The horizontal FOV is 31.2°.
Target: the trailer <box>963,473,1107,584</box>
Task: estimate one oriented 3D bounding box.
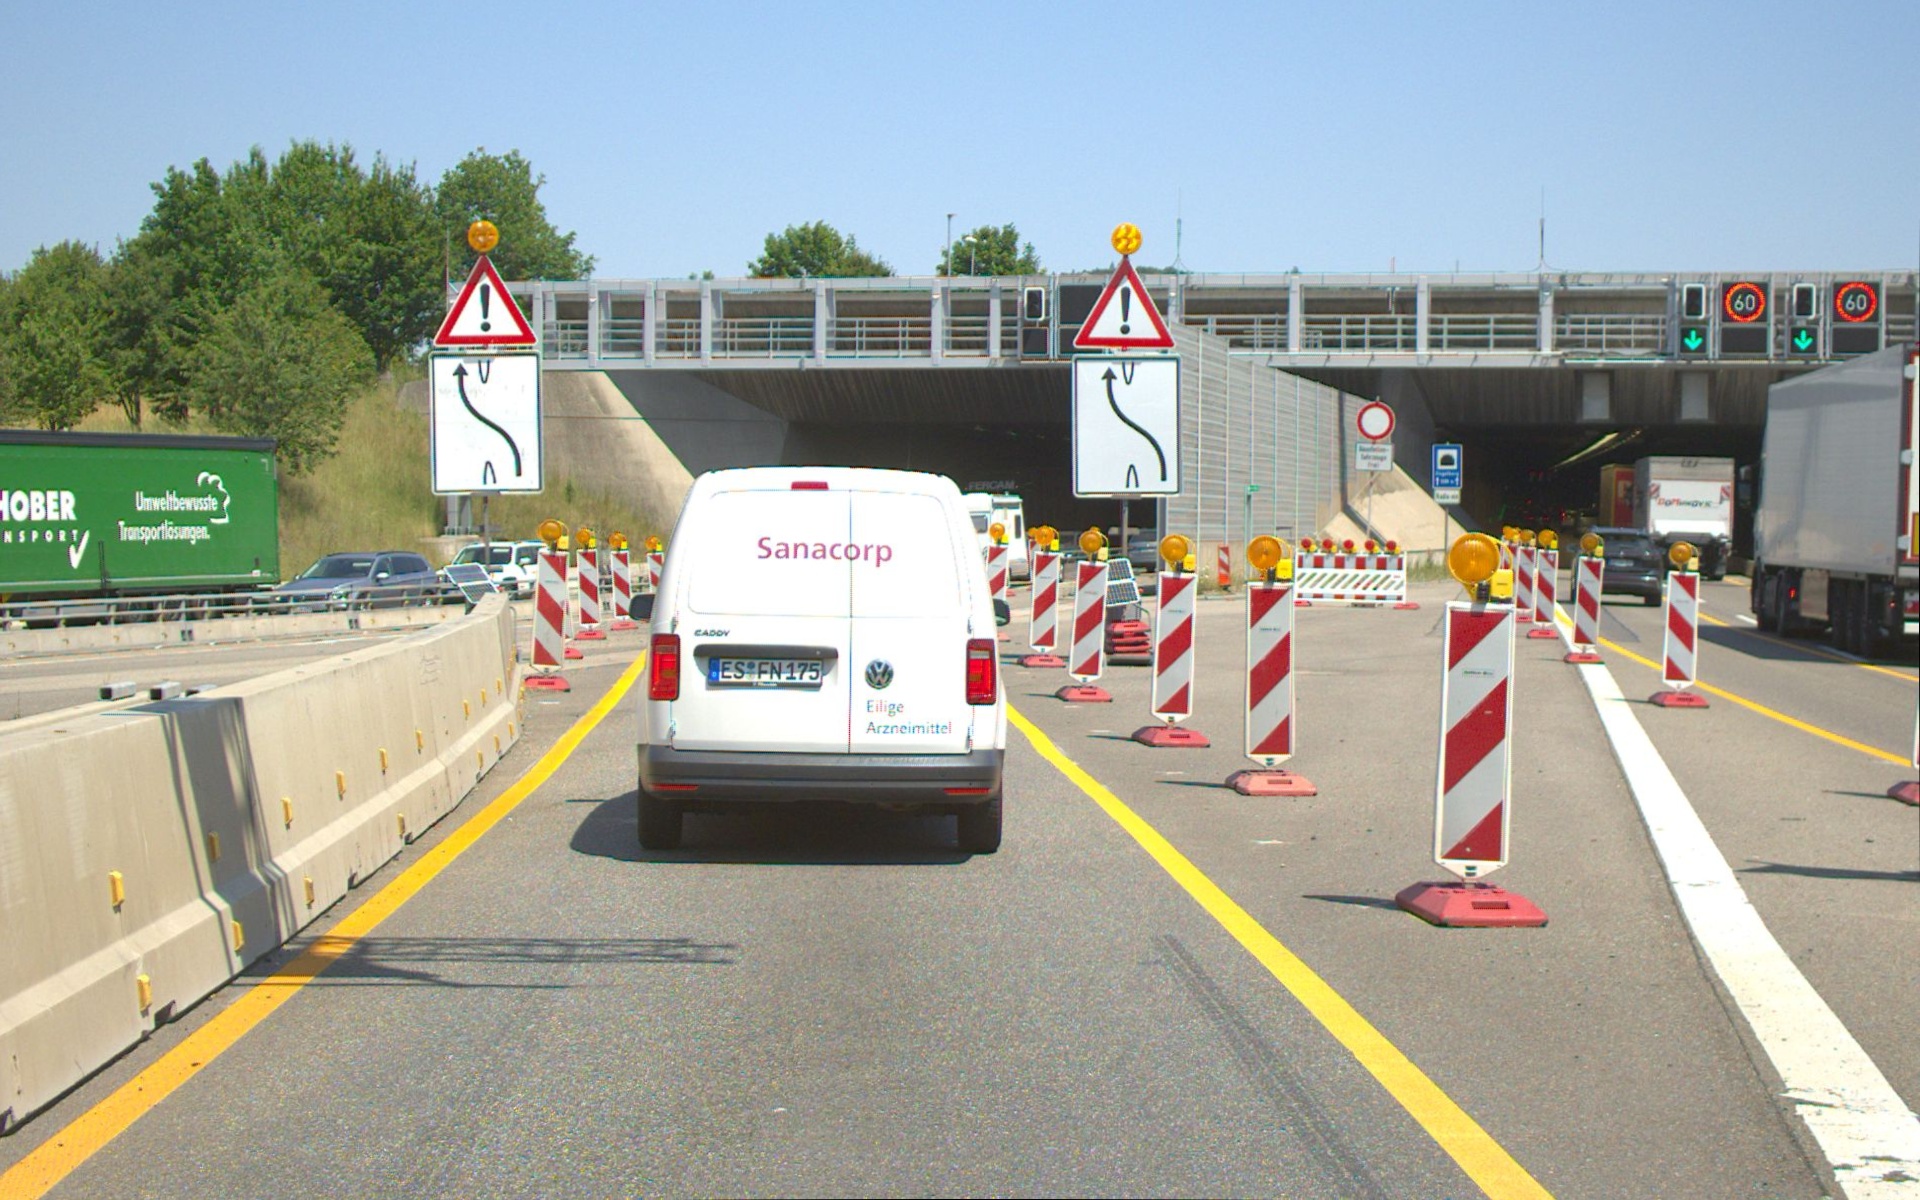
[{"bbox_3d":[3.169,-2.874,139.639,2.437,4.282,13.799,0,1,16],"label":"trailer"}]

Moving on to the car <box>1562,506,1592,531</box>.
[{"bbox_3d":[43.430,-5.721,242.059,1.815,1.624,4.189,2,1,7],"label":"car"}]

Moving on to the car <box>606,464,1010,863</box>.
[{"bbox_3d":[-0.740,0.252,17.315,1.808,1.788,3.731,0,1,-2],"label":"car"}]

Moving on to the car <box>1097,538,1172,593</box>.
[{"bbox_3d":[5.848,-1.166,114.806,1.954,1.809,4.408,0,1,10],"label":"car"}]

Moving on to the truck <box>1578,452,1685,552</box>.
[{"bbox_3d":[29.635,-4.241,152.502,3.403,4.057,16.532,2,1,7],"label":"truck"}]

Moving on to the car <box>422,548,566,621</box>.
[{"bbox_3d":[-10.736,-0.372,79.461,1.717,1.618,4.167,1,1,17],"label":"car"}]

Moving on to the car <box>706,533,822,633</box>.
[{"bbox_3d":[-3.631,-0.342,64.364,1.808,1.809,4.410,0,1,1],"label":"car"}]

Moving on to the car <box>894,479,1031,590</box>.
[{"bbox_3d":[0.142,-1.680,91.036,2.814,2.764,7.099,2,0,6],"label":"car"}]

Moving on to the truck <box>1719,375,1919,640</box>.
[{"bbox_3d":[14.216,-1.461,56.065,2.745,4.019,5.925,2,1,5],"label":"truck"}]

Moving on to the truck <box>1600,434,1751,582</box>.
[{"bbox_3d":[23.474,-2.873,113.698,3.403,4.320,16.531,2,0,7],"label":"truck"}]

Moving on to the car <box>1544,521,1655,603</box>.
[{"bbox_3d":[13.558,-0.816,73.084,1.815,1.624,4.189,2,1,4],"label":"car"}]

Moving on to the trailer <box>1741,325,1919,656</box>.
[{"bbox_3d":[13.520,-1.385,49.066,2.733,4.048,14.092,2,1,6],"label":"trailer"}]

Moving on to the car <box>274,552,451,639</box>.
[{"bbox_3d":[-11.647,-0.109,67.269,1.717,1.618,4.167,1,1,17],"label":"car"}]

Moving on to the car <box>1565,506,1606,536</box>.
[{"bbox_3d":[40.043,-5.053,220.152,2.332,1.832,4.542,2,1,7],"label":"car"}]

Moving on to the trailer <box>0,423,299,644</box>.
[{"bbox_3d":[-18.820,-1.360,70.702,3.550,4.255,13.894,2,1,20],"label":"trailer"}]

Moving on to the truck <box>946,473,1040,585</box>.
[{"bbox_3d":[1.296,-2.761,133.176,2.433,4.255,4.835,0,1,16],"label":"truck"}]

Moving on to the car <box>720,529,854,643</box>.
[{"bbox_3d":[-2.485,-0.226,48.702,1.808,1.532,4.410,0,1,-4],"label":"car"}]
